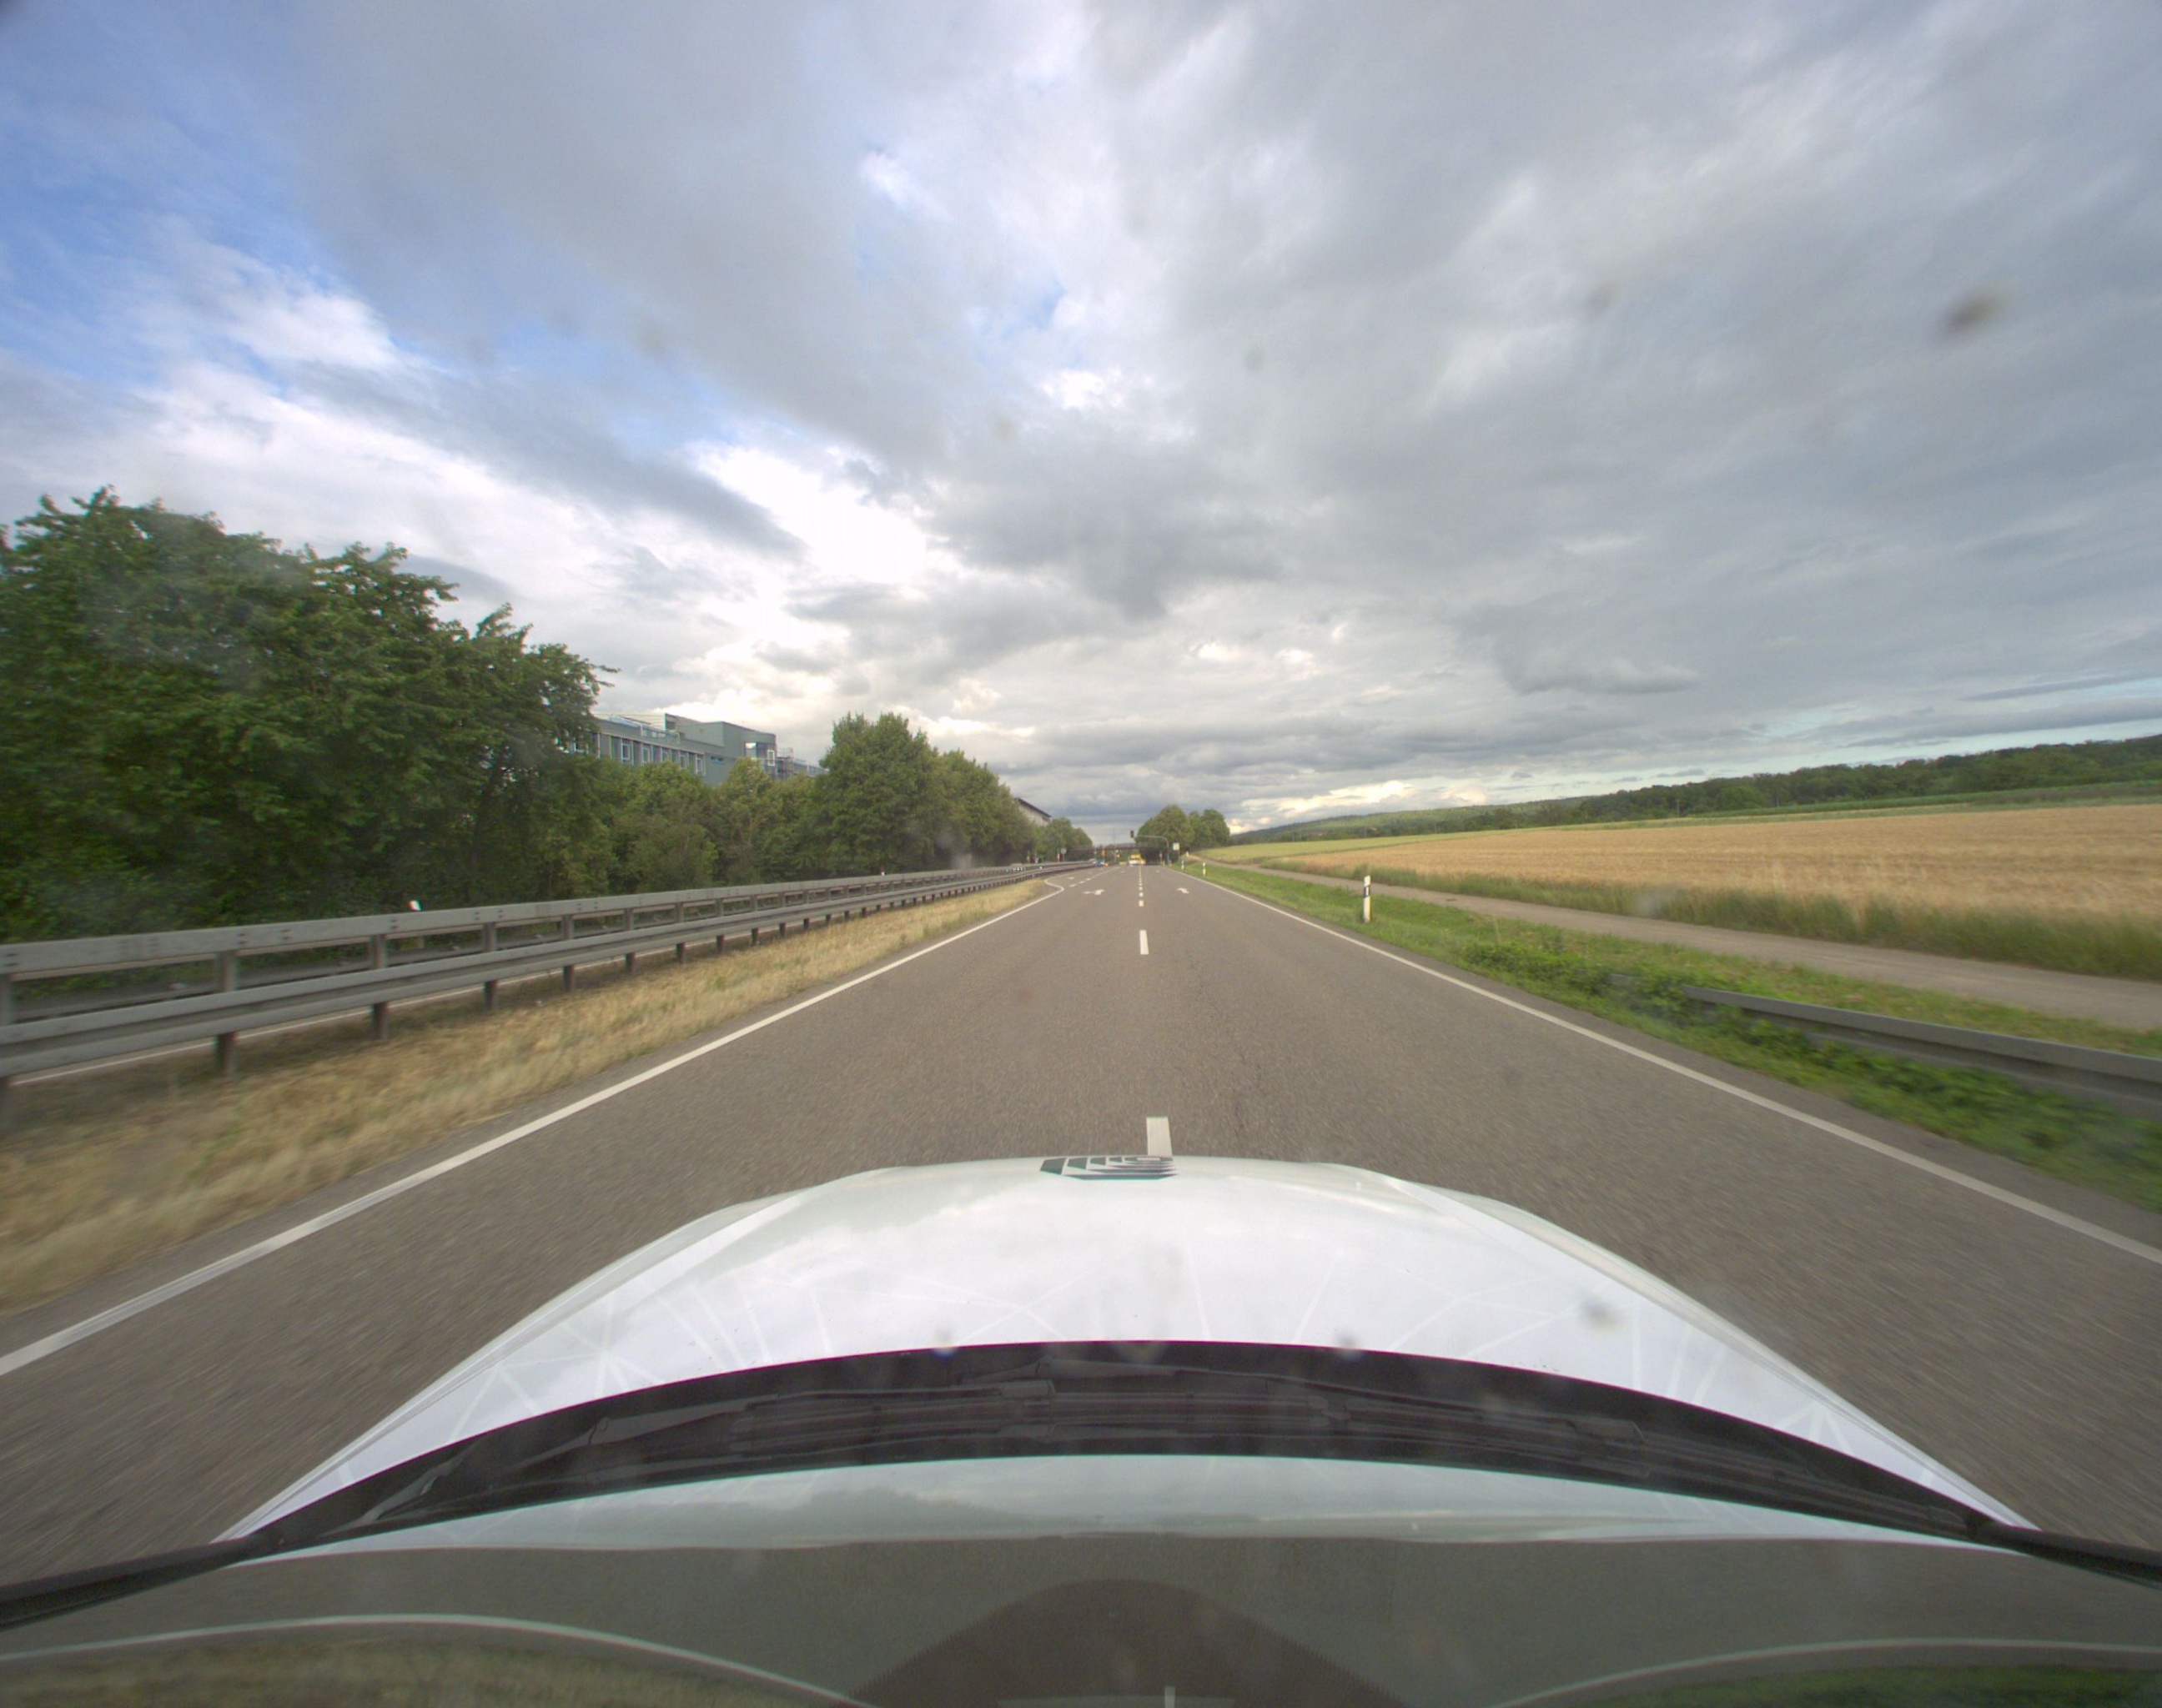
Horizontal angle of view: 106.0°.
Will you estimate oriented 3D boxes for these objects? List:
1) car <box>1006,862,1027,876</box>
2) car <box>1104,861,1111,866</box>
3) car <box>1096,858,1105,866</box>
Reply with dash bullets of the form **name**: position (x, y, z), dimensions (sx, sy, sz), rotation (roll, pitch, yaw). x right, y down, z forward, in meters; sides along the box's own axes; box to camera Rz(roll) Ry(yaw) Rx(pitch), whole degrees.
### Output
- **car**: position (-7.516, 1.720, 94.739), dimensions (1.751, 1.413, 4.463), rotation (-3, 0, 3)
- **car**: position (6.077, 2.157, 184.124), dimensions (1.351, 1.092, 2.926), rotation (-2, 0, 5)
- **car**: position (5.167, 2.008, 212.660), dimensions (1.985, 1.873, 4.742), rotation (-2, 0, 4)
